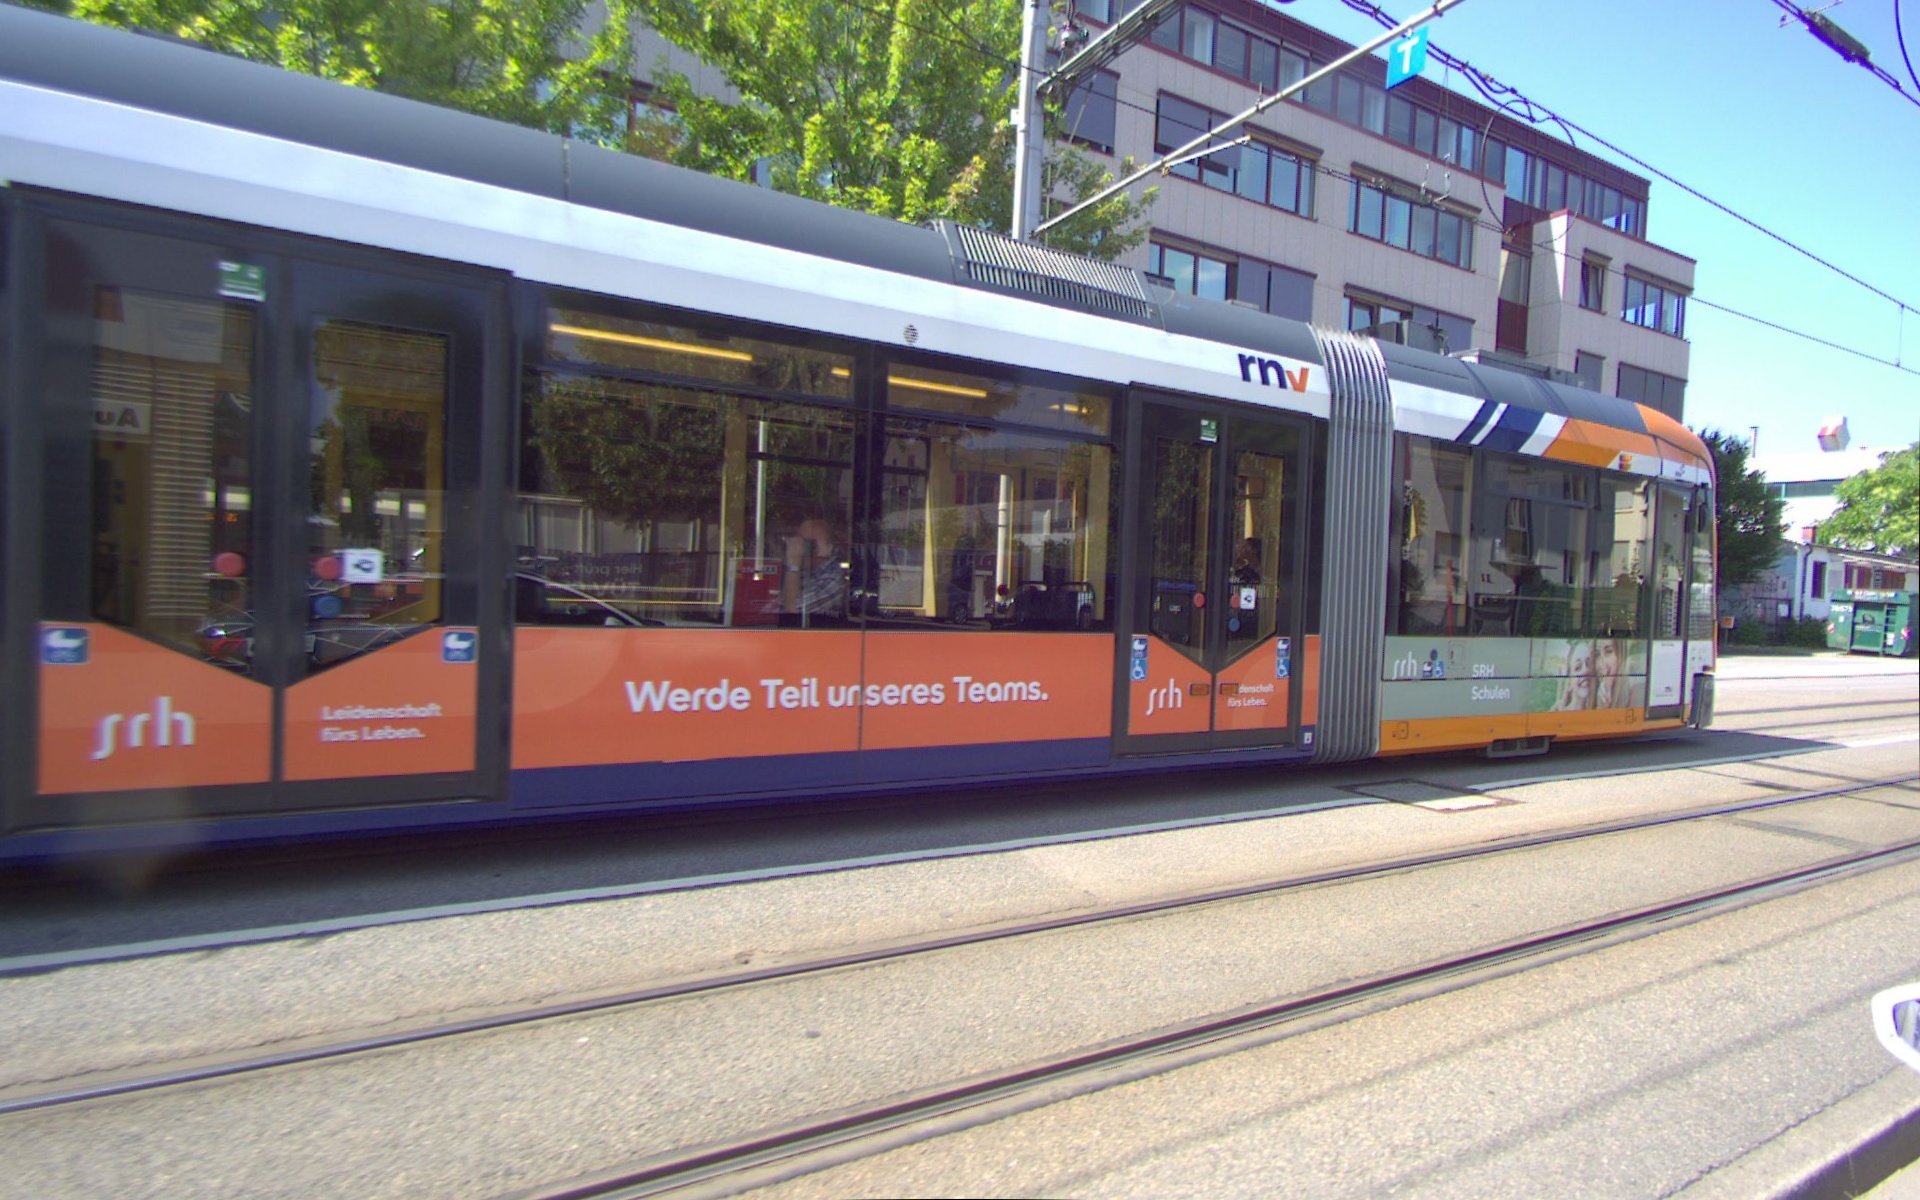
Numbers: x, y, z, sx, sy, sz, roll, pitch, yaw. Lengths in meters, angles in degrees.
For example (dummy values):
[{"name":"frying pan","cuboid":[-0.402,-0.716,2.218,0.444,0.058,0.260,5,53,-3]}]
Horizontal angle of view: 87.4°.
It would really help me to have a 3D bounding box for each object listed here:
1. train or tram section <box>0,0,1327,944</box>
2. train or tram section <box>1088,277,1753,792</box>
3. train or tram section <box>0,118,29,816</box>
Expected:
[{"name":"train or tram section","cuboid":[-1.244,-0.527,6.074,7.054,3.493,2.567,2,1,-31]},{"name":"train or tram section","cuboid":[4.540,-0.390,9.549,6.289,3.493,2.567,2,1,-31]},{"name":"train or tram section","cuboid":[-6.492,-0.677,2.971,4.953,3.493,2.598,2,1,-31]}]
